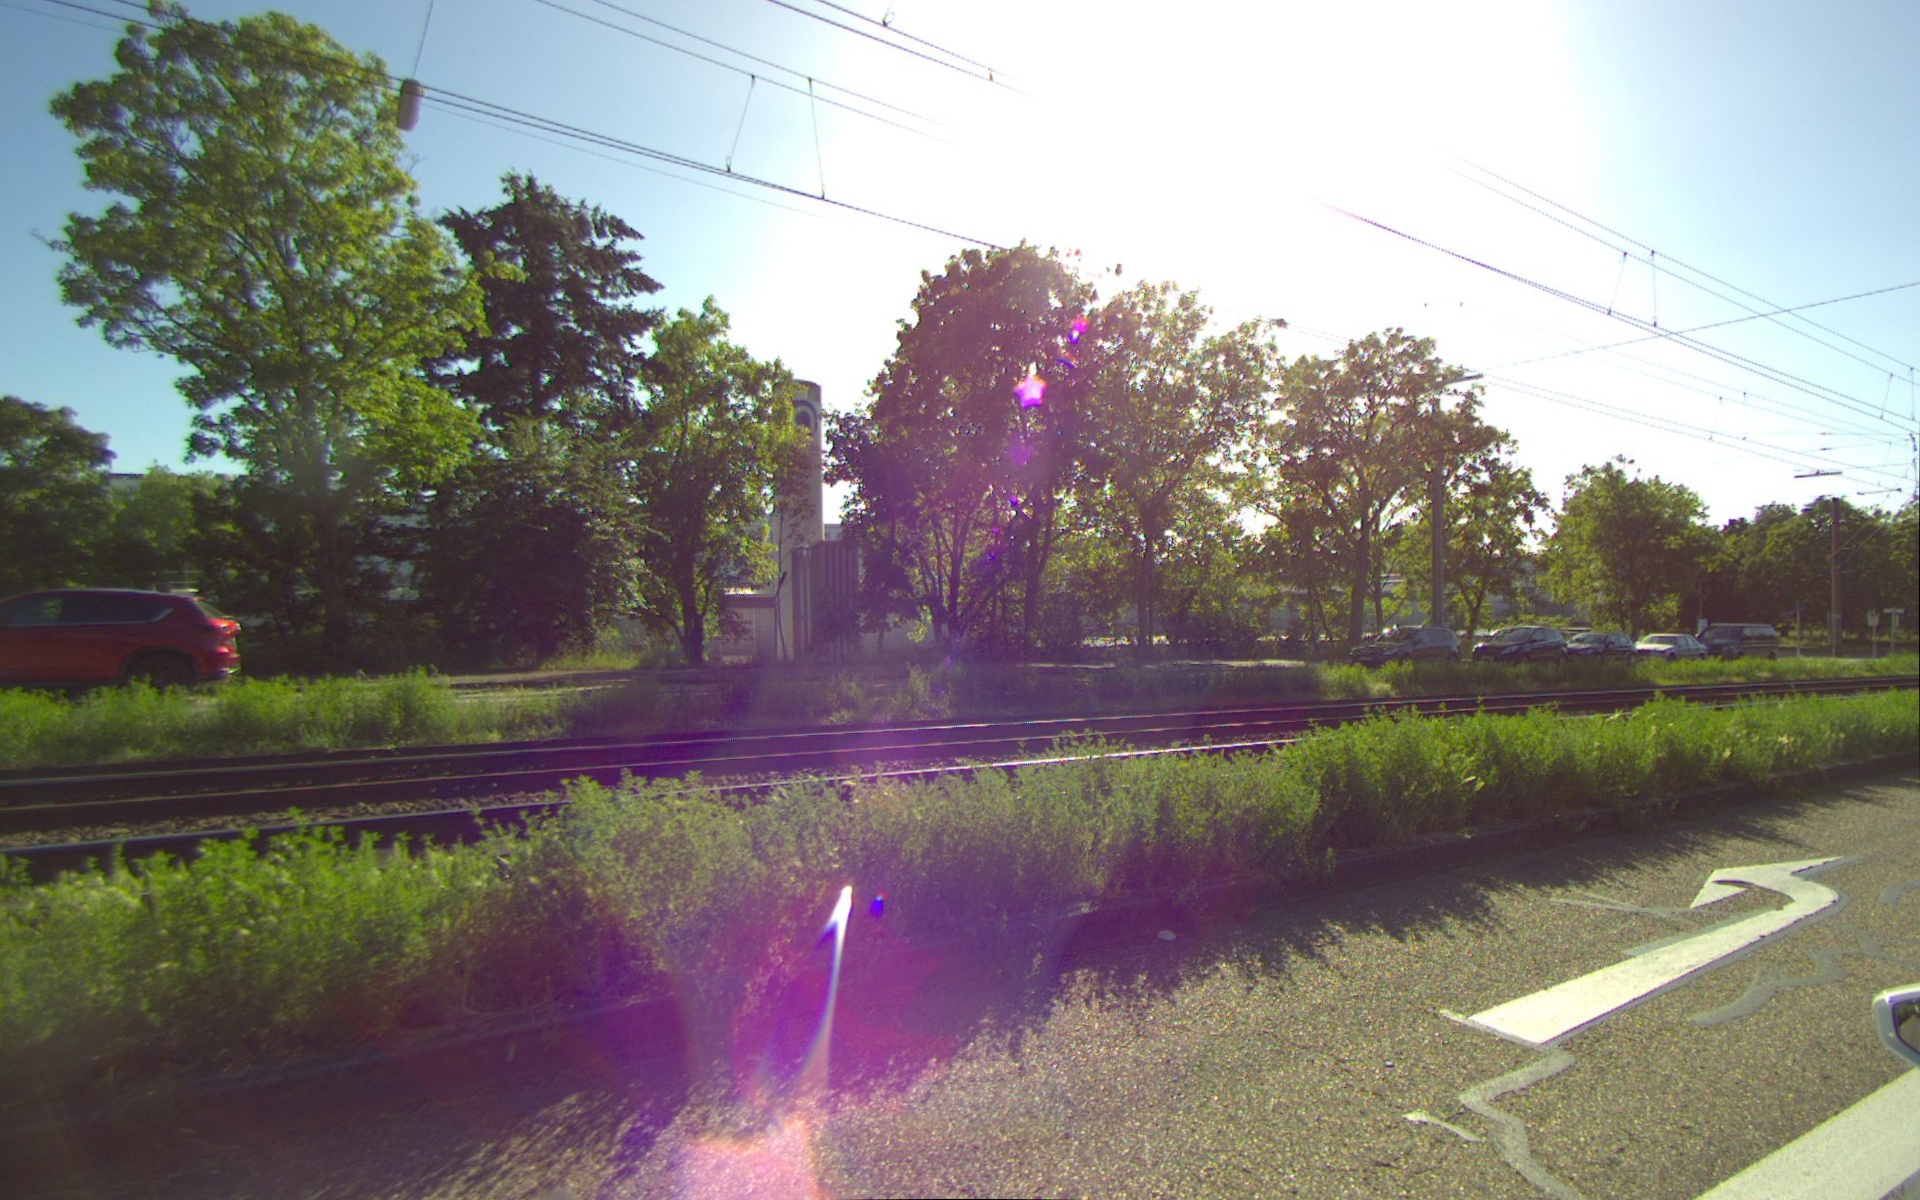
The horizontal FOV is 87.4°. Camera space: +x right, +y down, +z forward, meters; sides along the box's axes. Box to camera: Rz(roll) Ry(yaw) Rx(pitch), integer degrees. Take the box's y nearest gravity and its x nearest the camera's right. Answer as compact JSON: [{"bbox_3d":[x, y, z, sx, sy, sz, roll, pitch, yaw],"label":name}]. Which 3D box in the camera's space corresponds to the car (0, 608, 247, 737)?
[{"bbox_3d":[-13.116,0.992,14.556,4.419,1.725,1.992,1,-1,-33],"label":"car"}]

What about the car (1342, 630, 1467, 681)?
[{"bbox_3d":[14.653,1.797,33.031,4.283,1.514,1.724,2,0,-34],"label":"car"}]

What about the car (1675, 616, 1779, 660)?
[{"bbox_3d":[35.438,1.718,46.401,4.734,1.916,2.187,1,-1,-30],"label":"car"}]

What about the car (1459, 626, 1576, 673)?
[{"bbox_3d":[20.400,1.755,36.716,4.388,1.595,1.982,1,-1,-34],"label":"car"}]

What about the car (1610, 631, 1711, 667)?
[{"bbox_3d":[30.071,2.064,43.096,4.642,1.457,1.918,1,-1,-32],"label":"car"}]

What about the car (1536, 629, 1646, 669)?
[{"bbox_3d":[24.881,1.891,39.608,4.365,1.457,1.983,1,-1,-32],"label":"car"}]
